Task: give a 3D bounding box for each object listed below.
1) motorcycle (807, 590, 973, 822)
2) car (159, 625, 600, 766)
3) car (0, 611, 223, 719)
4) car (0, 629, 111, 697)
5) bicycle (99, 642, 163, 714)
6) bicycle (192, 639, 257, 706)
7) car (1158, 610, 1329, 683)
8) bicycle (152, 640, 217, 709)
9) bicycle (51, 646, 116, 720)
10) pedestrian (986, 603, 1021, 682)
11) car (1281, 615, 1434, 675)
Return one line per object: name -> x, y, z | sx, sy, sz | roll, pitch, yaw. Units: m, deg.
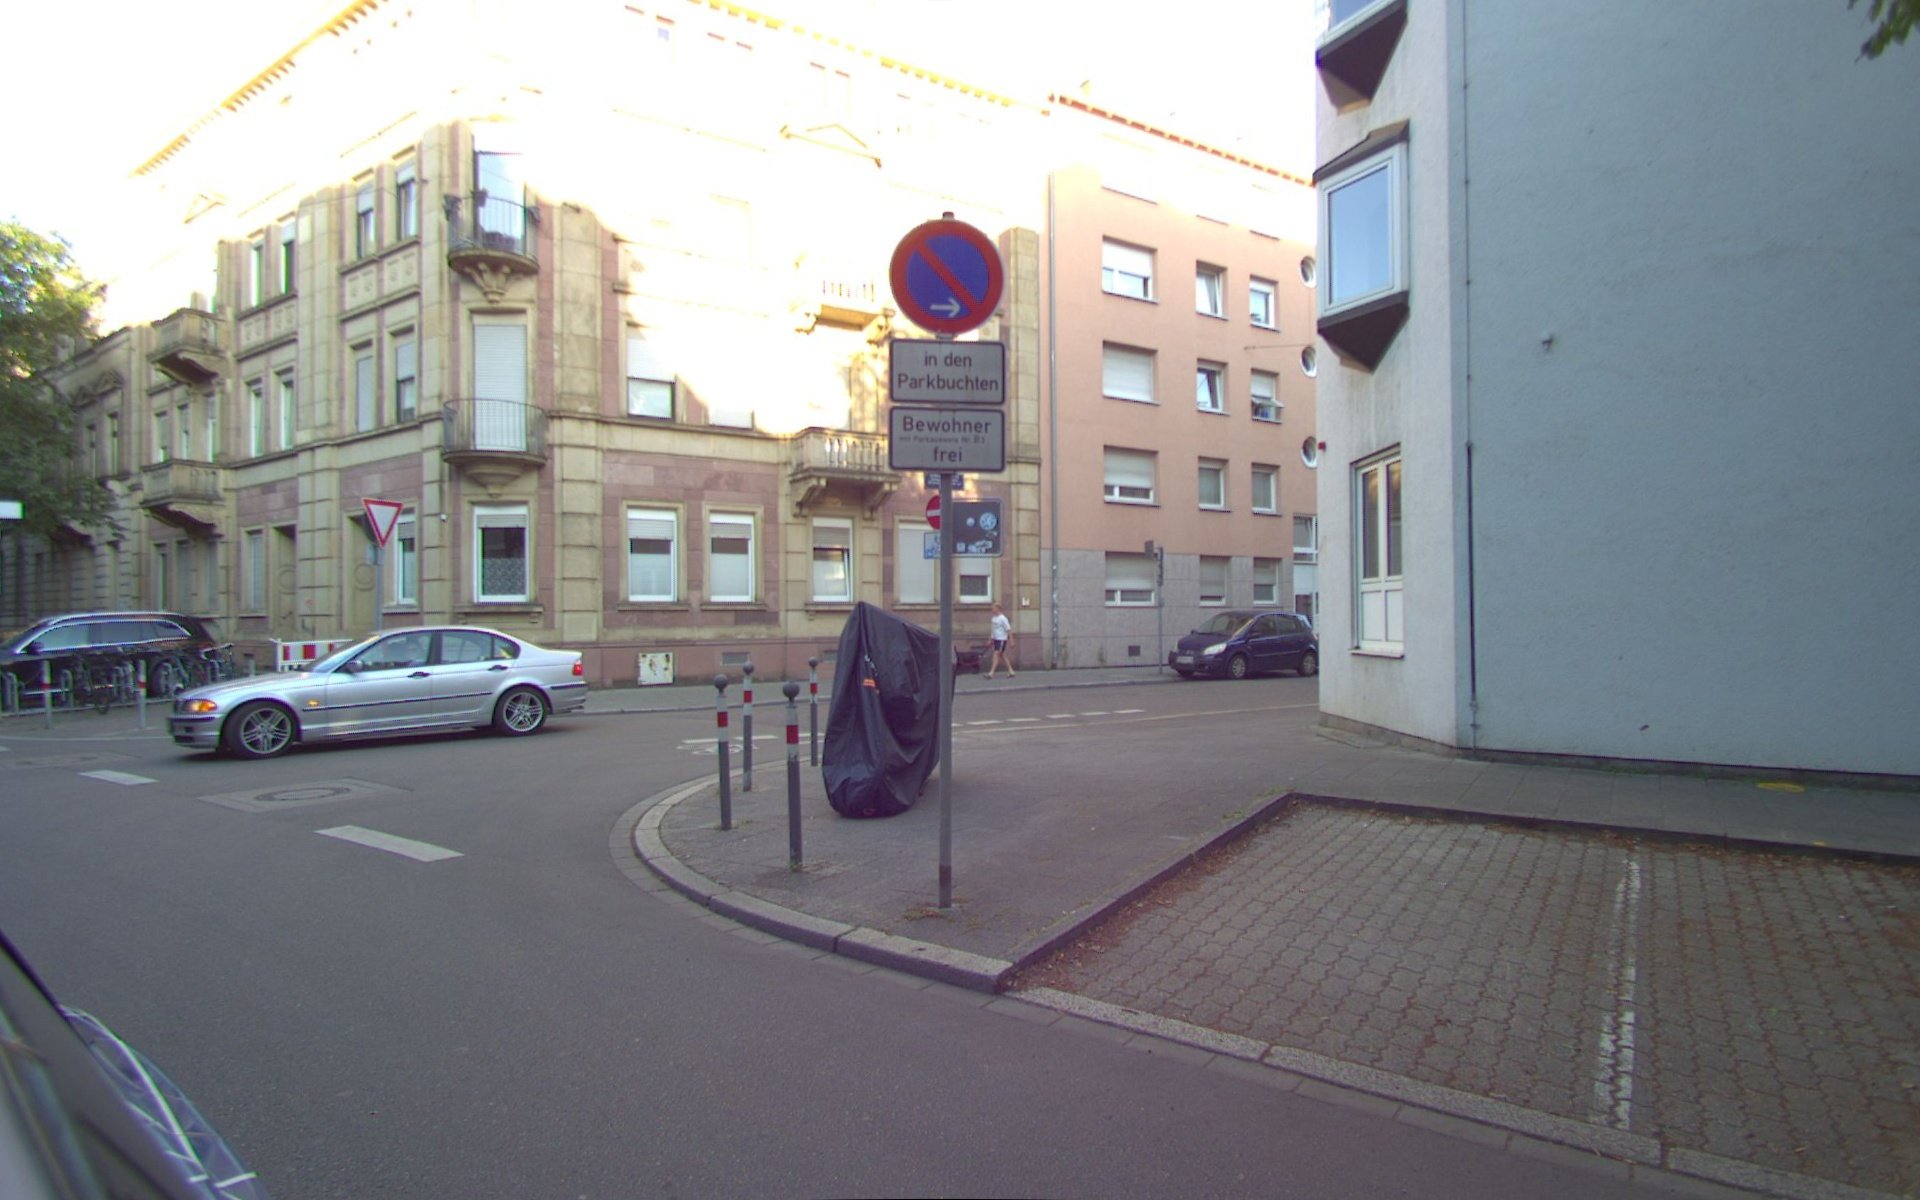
motorcycle -> -0.475, 0.747, 7.993 | 0.663, 1.567, 2.152 | -1, -2, 14
car -> -6.845, 1.036, 12.245 | 4.401, 1.414, 1.685 | 1, -4, -40
car -> -16.423, 1.136, 18.415 | 1.773, 1.751, 4.536 | 0, 1, 36
car -> -22.410, 1.446, 23.070 | 1.773, 1.499, 4.392 | -2, -2, 36
bicycle -> -13.927, 1.284, 16.980 | 1.866, 1.097, 0.360 | 0, 1, 36
bicycle -> -13.132, 1.277, 18.044 | 1.866, 1.097, 0.360 | 0, 1, 36
car -> 6.890, 1.085, 24.502 | 3.985, 1.637, 1.700 | 0, -2, -32
bicycle -> -13.461, 1.273, 17.556 | 1.866, 1.097, 0.360 | 0, 1, 36
bicycle -> -14.262, 1.319, 16.453 | 1.866, 1.097, 0.360 | 0, 1, 36
pedestrian -> 0.982, 0.957, 22.803 | 0.559, 1.757, 0.552 | 1, -2, -34
car -> 10.745, 1.174, 27.274 | 4.211, 1.525, 1.699 | 1, -2, -33
